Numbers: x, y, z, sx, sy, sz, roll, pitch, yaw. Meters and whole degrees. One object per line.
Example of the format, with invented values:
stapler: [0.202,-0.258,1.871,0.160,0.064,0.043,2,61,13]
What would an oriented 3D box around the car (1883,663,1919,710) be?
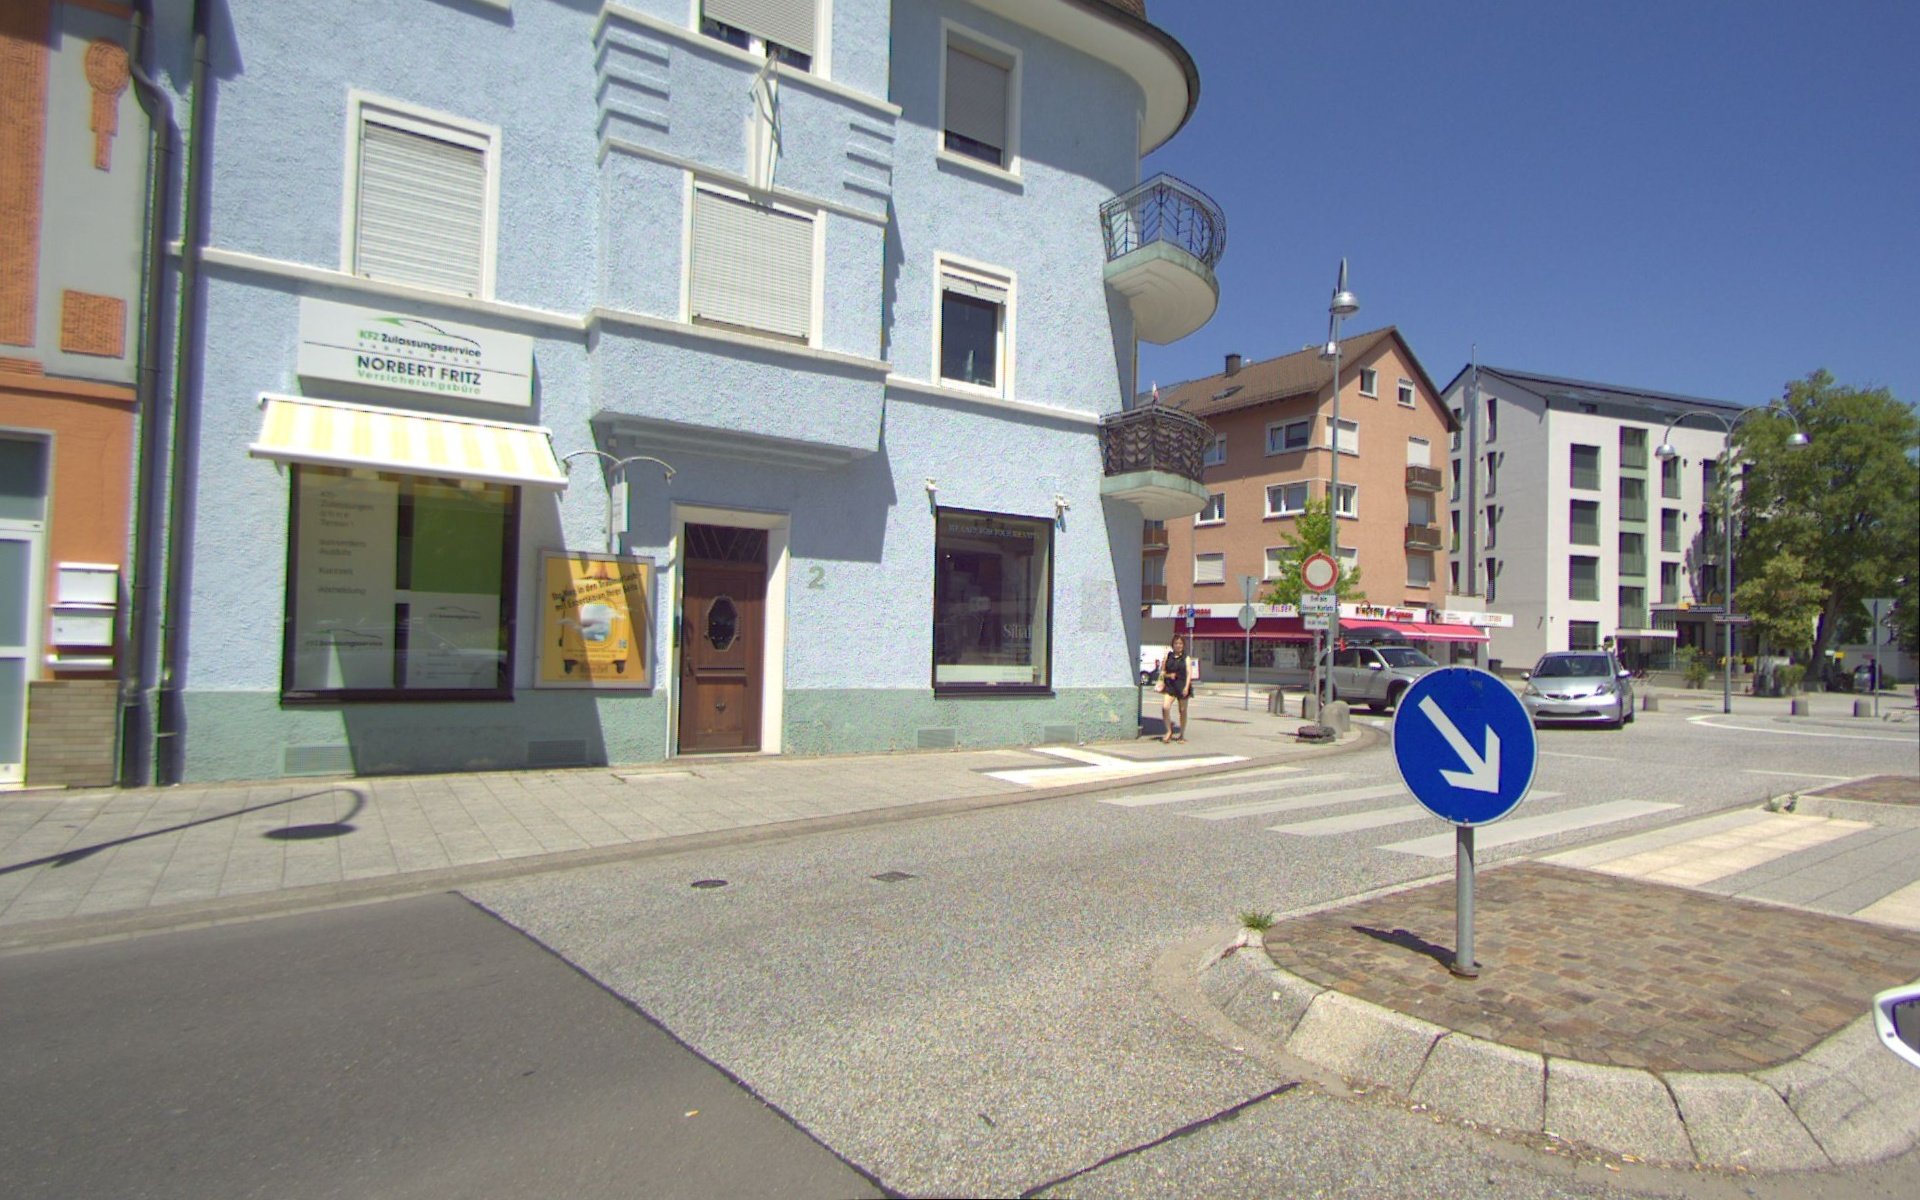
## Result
car: [33.515,2.964,34.557,3.965,1.529,1.978,3,-3,-38]

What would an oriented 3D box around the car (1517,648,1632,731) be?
car: [12.079,1.700,19.663,1.555,1.469,3.458,-3,-4,37]

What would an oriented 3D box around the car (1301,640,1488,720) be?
car: [10.430,1.919,24.476,1.809,1.710,4.186,-1,-3,-18]

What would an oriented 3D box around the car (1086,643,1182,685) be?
car: [7.810,2.864,45.310,3.946,1.772,1.791,-2,-4,44]

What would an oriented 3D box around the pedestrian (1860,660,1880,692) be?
pedestrian: [45.987,3.851,50.767,0.554,1.596,0.534,2,-2,-19]

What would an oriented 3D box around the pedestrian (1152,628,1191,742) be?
pedestrian: [3.056,1.215,14.546,0.535,1.606,0.515,0,-3,11]
